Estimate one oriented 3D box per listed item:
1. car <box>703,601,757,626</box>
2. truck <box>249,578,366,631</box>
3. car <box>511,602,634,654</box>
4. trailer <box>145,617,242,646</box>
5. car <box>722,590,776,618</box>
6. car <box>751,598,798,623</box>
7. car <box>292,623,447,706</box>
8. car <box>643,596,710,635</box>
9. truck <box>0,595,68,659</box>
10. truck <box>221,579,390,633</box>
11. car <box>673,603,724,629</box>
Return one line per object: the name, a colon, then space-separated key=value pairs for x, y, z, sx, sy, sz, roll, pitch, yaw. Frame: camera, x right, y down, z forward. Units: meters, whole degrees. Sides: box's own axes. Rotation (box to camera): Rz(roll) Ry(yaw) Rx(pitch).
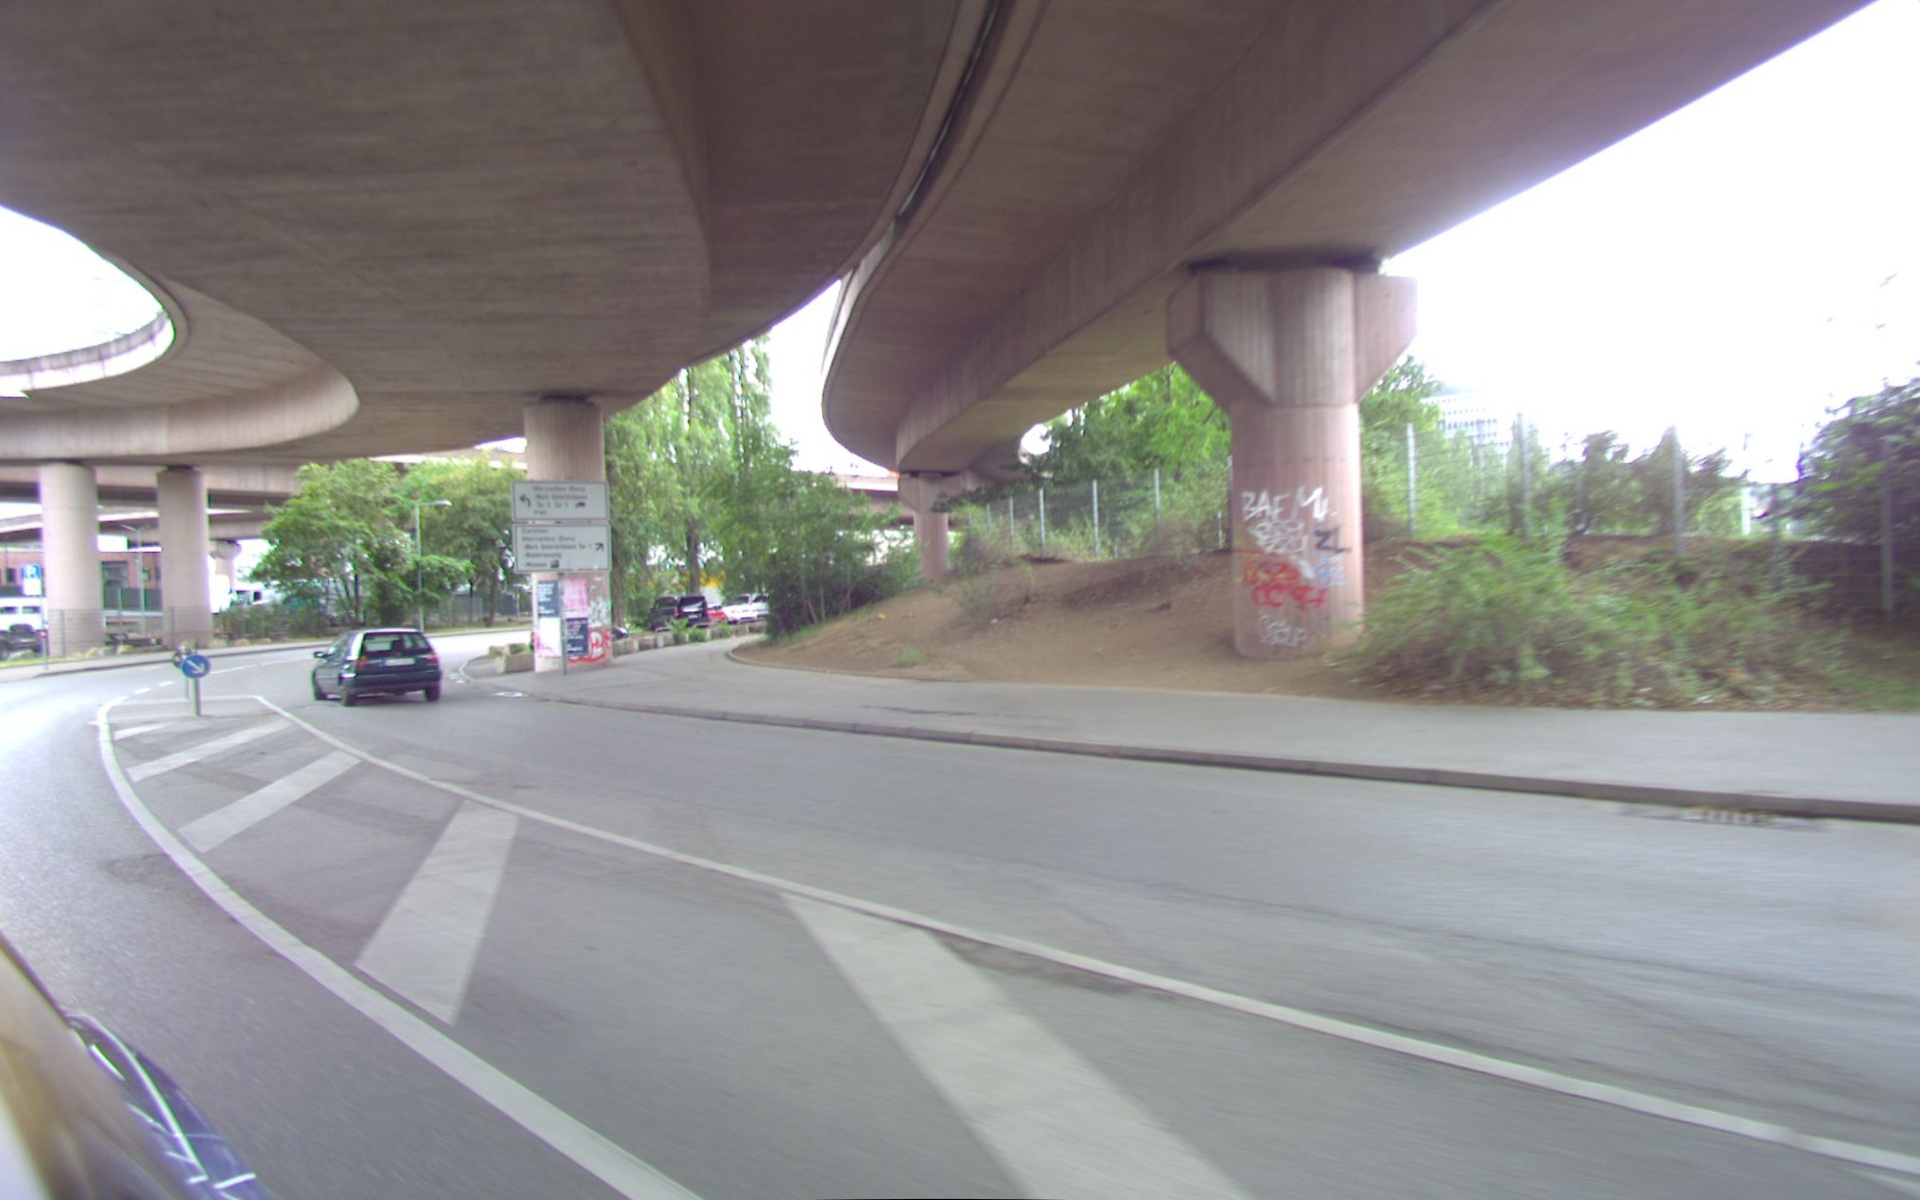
car: x=-13.877 y=0.783 z=60.966 sx=1.668 sy=1.374 sz=4.528 roll=-2 pitch=1 yaw=-33
truck: x=-44.701 y=0.243 z=69.517 sx=2.265 sy=3.434 sz=6.337 roll=0 pitch=1 yaw=35
car: x=-12.828 y=0.866 z=33.875 sx=1.806 sy=1.441 sz=4.765 roll=-4 pitch=0 yaw=6
trailer: x=-40.881 y=1.648 z=54.134 sx=1.586 sy=1.341 sz=4.375 roll=-1 pitch=1 yaw=5
car: x=-13.645 y=0.220 z=65.336 sx=1.668 sy=1.686 sz=4.689 roll=-2 pitch=2 yaw=-35
car: x=-12.296 y=0.673 z=67.100 sx=1.668 sy=1.548 sz=3.637 roll=-2 pitch=2 yaw=-35
car: x=-11.671 y=1.195 z=19.899 sx=4.002 sy=1.441 sz=1.657 roll=-2 pitch=-1 yaw=45
car: x=-15.116 y=0.790 z=53.767 sx=1.826 sy=1.931 sz=4.986 roll=-2 pitch=1 yaw=-35
truck: x=-43.244 y=1.226 z=44.974 sx=2.384 sy=2.764 sz=7.256 roll=-2 pitch=0 yaw=-16
truck: x=-46.566 y=0.333 z=72.451 sx=2.264 sy=3.524 sz=10.105 roll=0 pitch=1 yaw=32
car: x=-14.875 y=0.894 z=57.516 sx=1.539 sy=1.390 sz=3.714 roll=-2 pitch=1 yaw=-35
